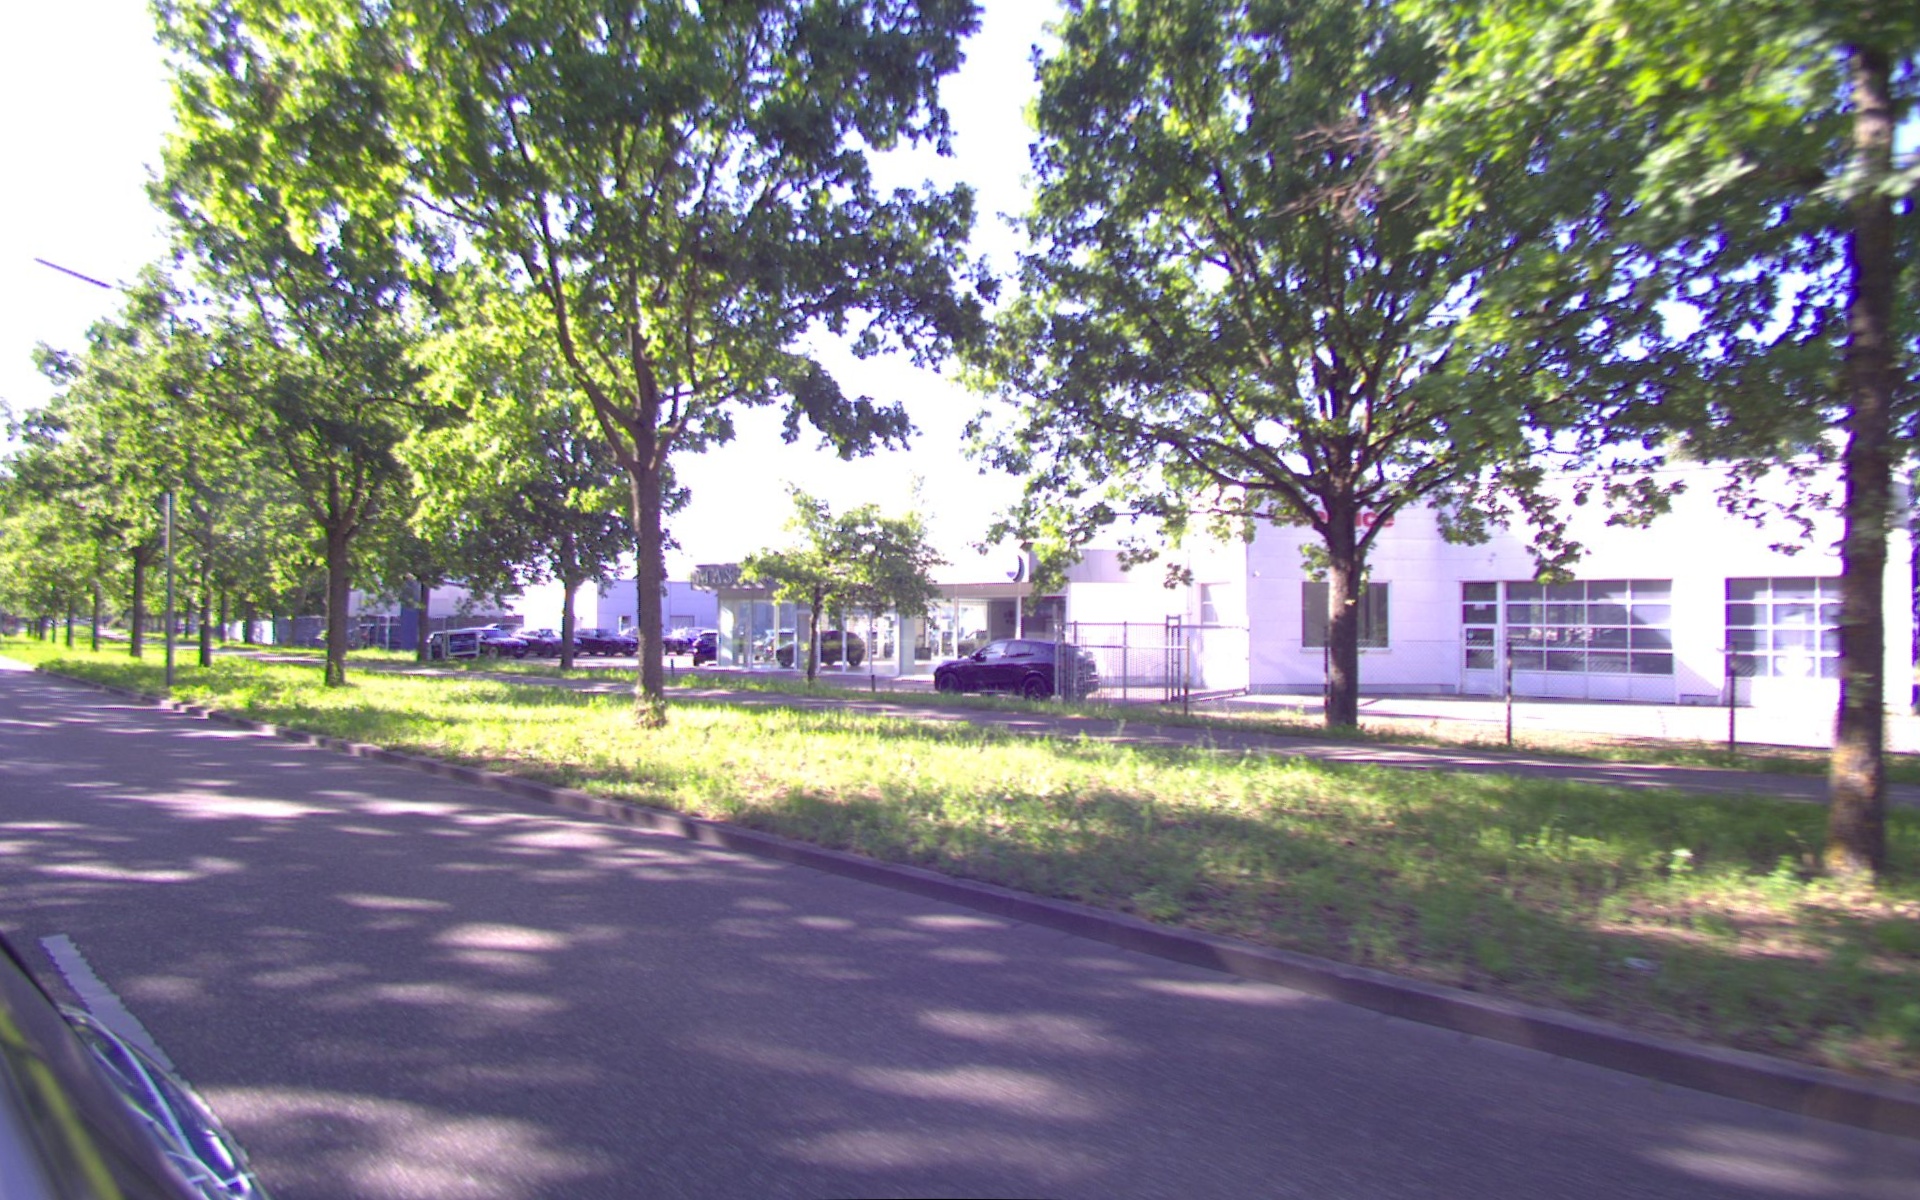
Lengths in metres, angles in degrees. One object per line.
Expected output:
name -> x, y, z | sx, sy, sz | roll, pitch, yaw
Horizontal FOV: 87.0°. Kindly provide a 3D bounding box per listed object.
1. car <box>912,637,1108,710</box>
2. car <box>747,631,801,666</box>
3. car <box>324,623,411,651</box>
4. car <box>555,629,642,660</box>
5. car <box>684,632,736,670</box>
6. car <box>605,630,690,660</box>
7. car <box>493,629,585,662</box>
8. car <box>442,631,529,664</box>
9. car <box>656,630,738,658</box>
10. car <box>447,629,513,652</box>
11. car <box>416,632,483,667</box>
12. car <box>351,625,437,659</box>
car -> 1.217, 1.853, 26.555 | 5.013, 1.610, 1.973 | -1, 0, 42
car -> -9.750, 2.504, 52.717 | 1.965, 1.673, 5.025 | -1, -2, -20
car -> -36.066, 2.241, 61.651 | 4.261, 1.530, 1.863 | -1, 0, -45
car -> -21.365, 2.610, 59.722 | 5.240, 1.702, 1.979 | -1, 0, 31
car -> -12.163, 2.450, 49.463 | 1.968, 1.673, 5.269 | -1, -2, -9
car -> -19.225, 2.726, 62.153 | 5.240, 1.673, 1.979 | -1, 0, 31
car -> -23.853, 2.551, 57.316 | 5.237, 1.730, 1.981 | -1, 0, 29
car -> -25.847, 2.560, 55.090 | 4.477, 1.688, 1.982 | -1, 0, 28
car -> -16.743, 2.752, 64.351 | 5.240, 1.673, 1.979 | -1, 0, 31
car -> -34.656, 2.902, 73.078 | 3.941, 1.530, 1.752 | -1, 0, -45
car -> -22.557, 2.152, 44.710 | 2.531, 1.481, 1.430 | 1, -2, -30
car -> -32.315, 2.372, 57.814 | 3.940, 1.755, 2.002 | -1, 0, -44
